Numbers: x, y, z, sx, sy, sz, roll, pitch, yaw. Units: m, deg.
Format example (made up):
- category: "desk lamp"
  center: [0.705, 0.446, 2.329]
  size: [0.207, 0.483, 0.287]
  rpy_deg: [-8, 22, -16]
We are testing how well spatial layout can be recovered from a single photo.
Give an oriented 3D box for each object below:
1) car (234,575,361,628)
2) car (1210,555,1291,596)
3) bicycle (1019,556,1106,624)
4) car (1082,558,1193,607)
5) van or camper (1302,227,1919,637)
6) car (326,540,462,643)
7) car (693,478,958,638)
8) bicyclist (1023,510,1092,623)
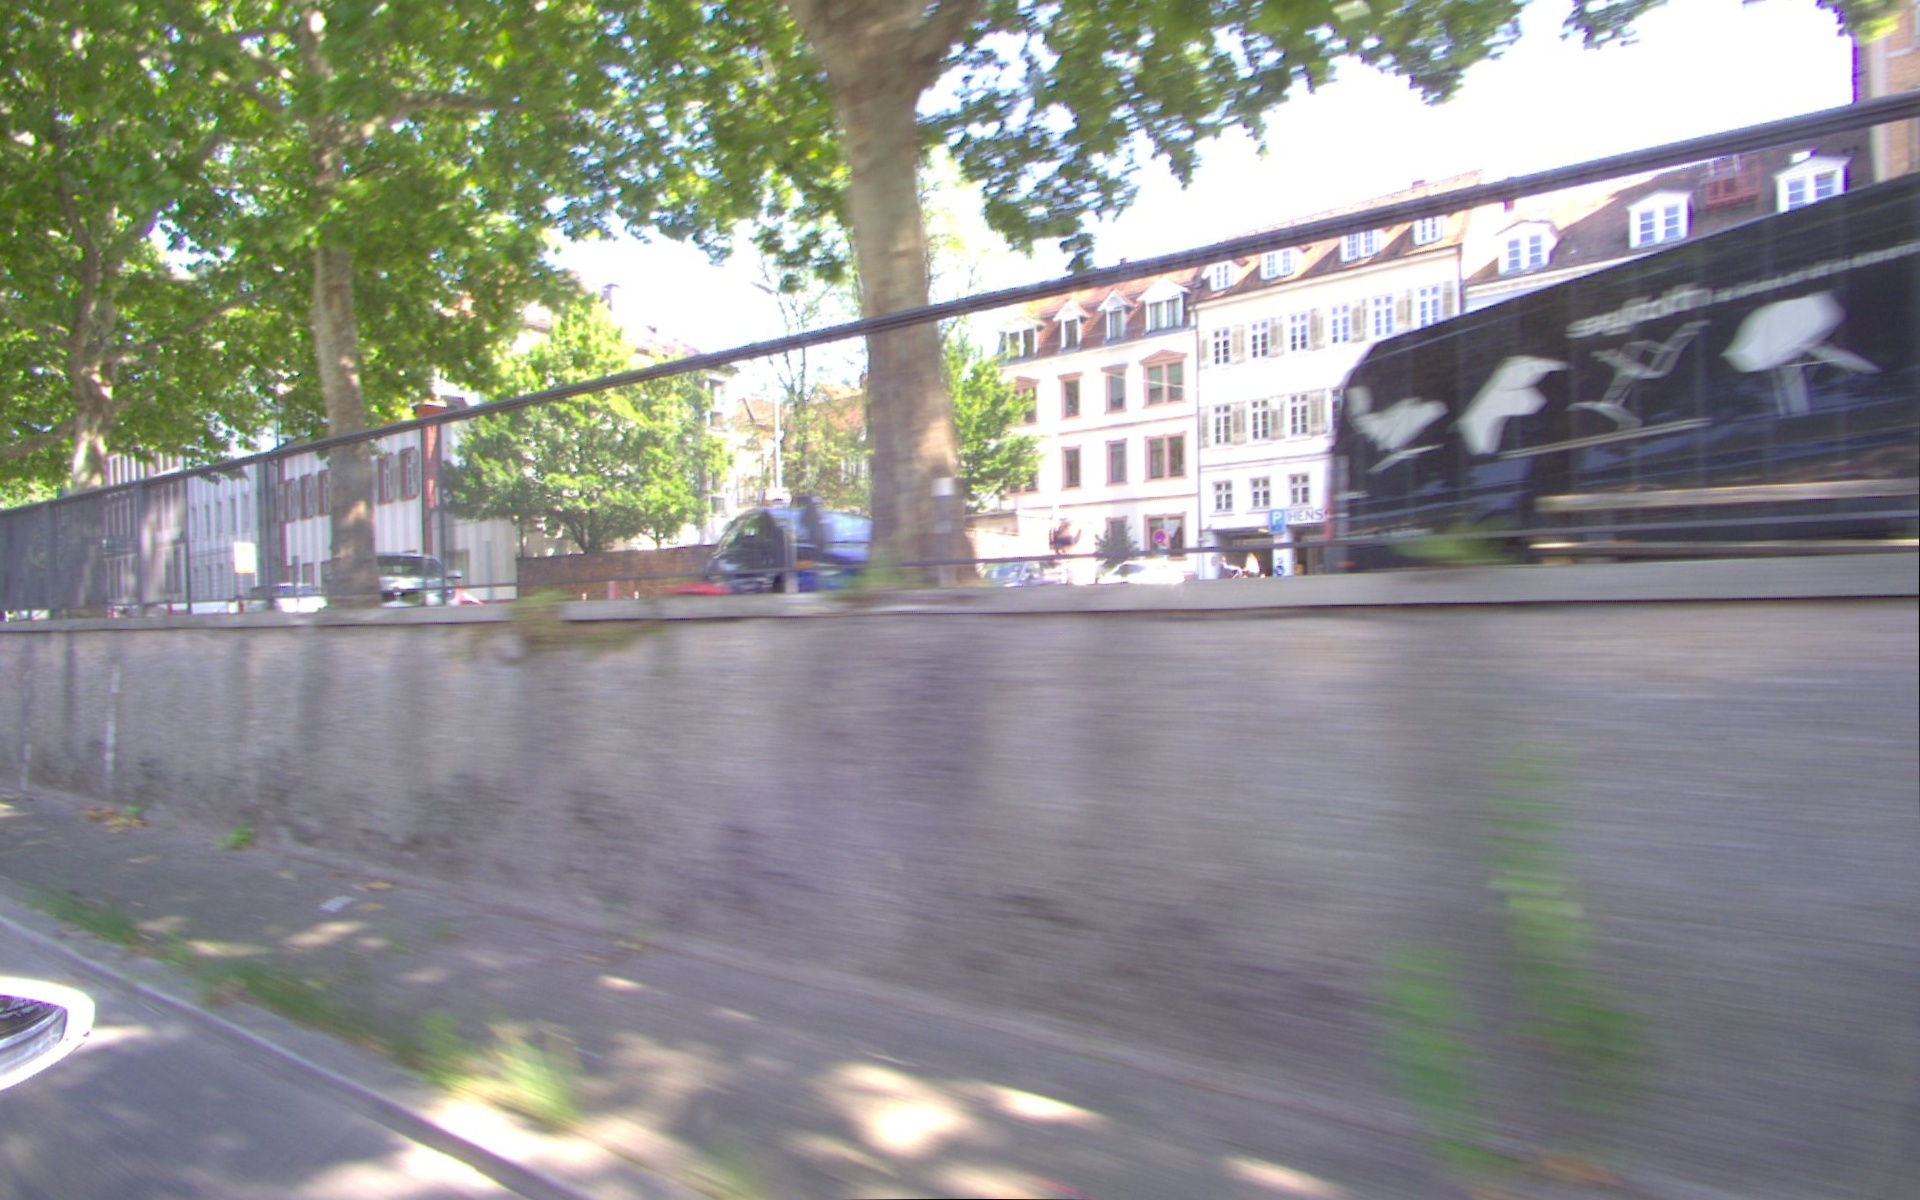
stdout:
- category: "car"
  center: [-19.948, 0.047, 30.130]
  size: [3.666, 1.447, 1.868]
  rpy_deg: [-1, 2, 34]
- category: "car"
  center: [11.702, -0.995, 40.145]
  size: [1.762, 1.482, 4.593]
  rpy_deg: [-1, 2, 34]
- category: "bicycle"
  center: [1.618, -0.131, 16.027]
  size: [0.414, 0.988, 1.533]
  rpy_deg: [1, -3, -39]
- category: "car"
  center: [5.785, -0.595, 32.162]
  size: [1.762, 1.395, 4.593]
  rpy_deg: [-1, 2, 34]
- category: "van or camper"
  center: [6.034, -0.929, 7.003]
  size: [2.310, 2.210, 7.328]
  rpy_deg: [2, -4, -28]
- category: "car"
  center: [-9.312, -0.073, 16.571]
  size: [1.754, 1.488, 3.981]
  rpy_deg: [0, -1, -29]
- category: "car"
  center: [-1.714, -0.355, 11.591]
  size: [1.631, 1.520, 3.796]
  rpy_deg: [0, -1, -32]
- category: "bicyclist"
  center: [1.556, -0.510, 16.051]
  size: [0.696, 1.704, 0.838]
  rpy_deg: [1, -3, -40]
